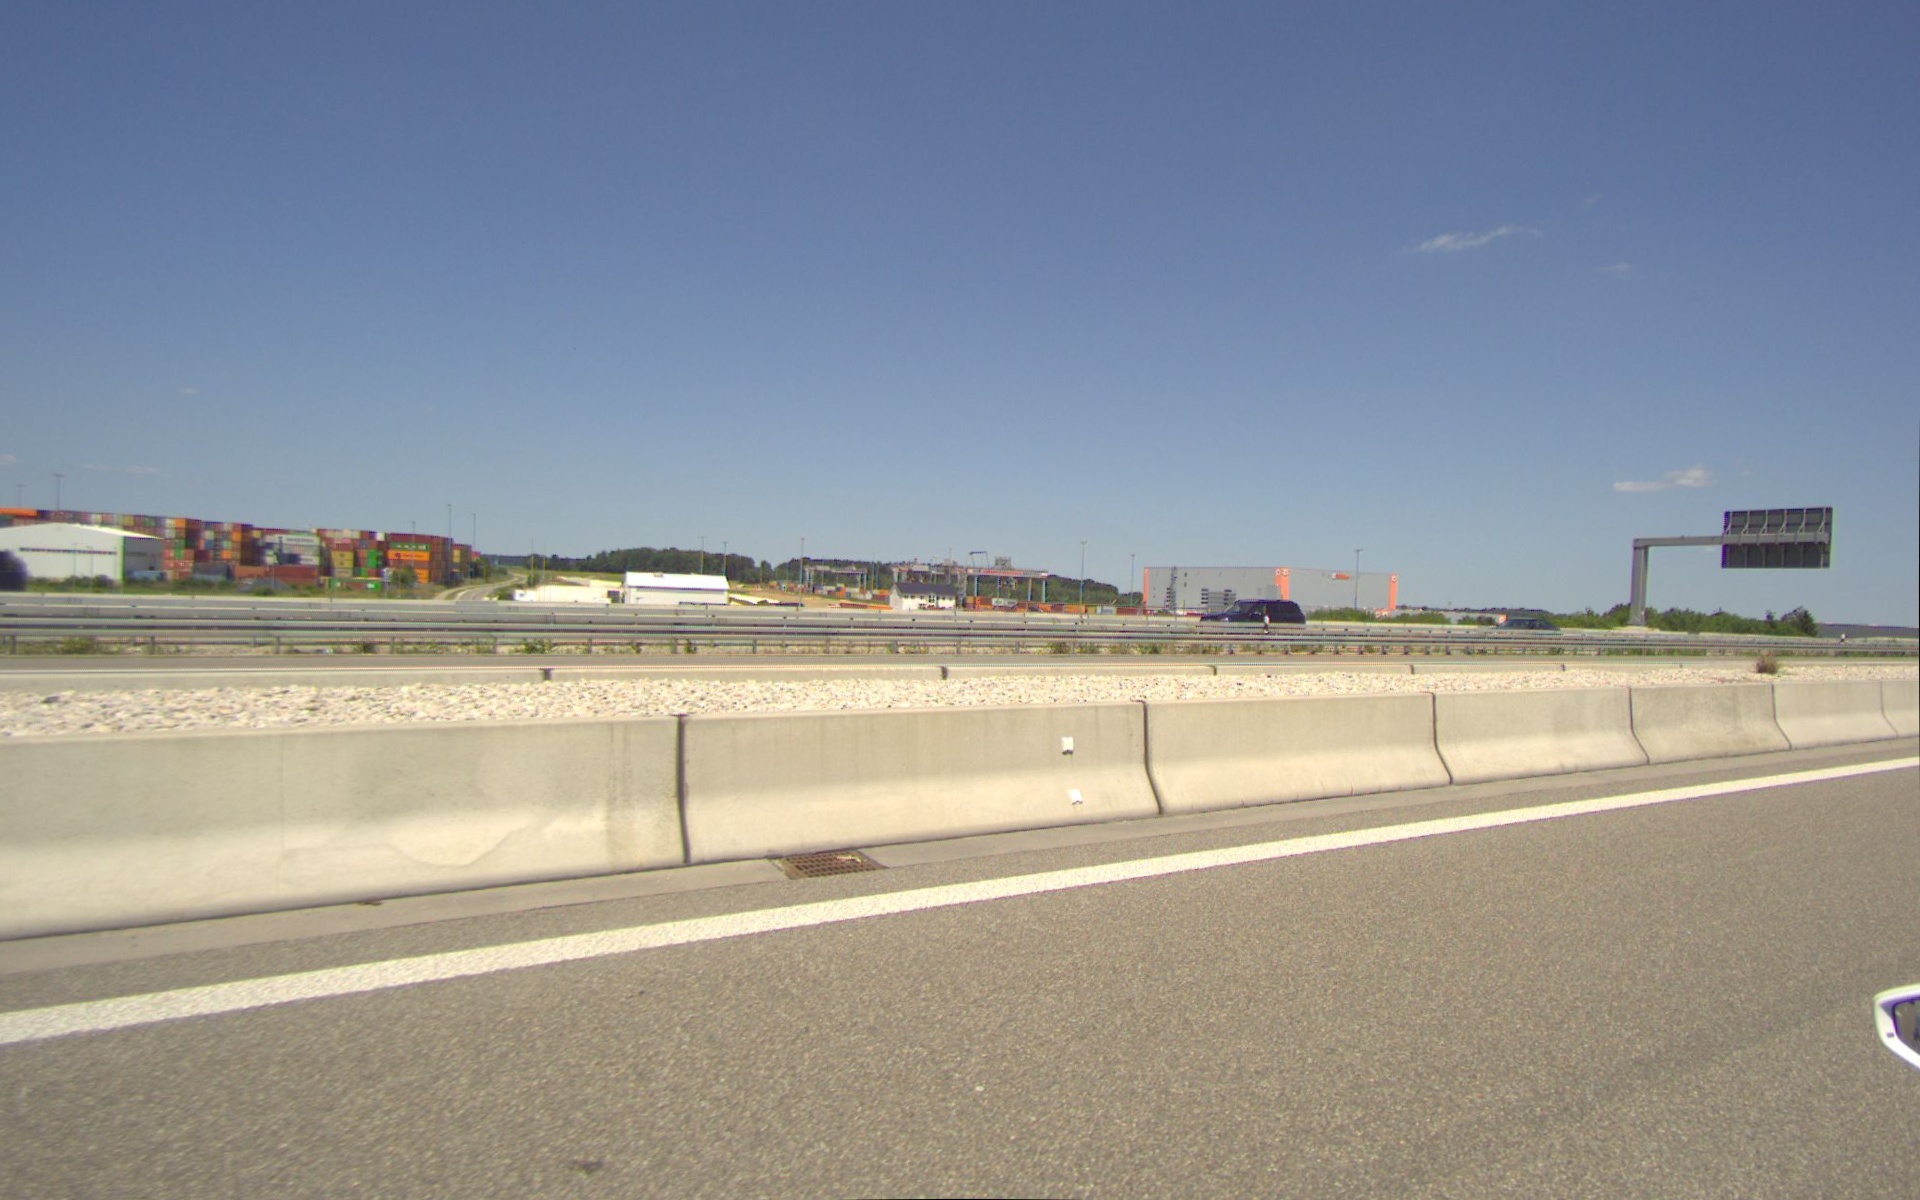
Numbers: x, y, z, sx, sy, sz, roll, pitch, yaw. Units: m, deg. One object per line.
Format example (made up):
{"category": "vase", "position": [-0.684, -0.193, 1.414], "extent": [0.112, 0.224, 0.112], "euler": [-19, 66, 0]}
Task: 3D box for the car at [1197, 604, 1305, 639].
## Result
{"category": "car", "position": [12.531, 0.937, 43.188], "extent": [4.307, 1.398, 1.985], "euler": [2, 0, -28]}
